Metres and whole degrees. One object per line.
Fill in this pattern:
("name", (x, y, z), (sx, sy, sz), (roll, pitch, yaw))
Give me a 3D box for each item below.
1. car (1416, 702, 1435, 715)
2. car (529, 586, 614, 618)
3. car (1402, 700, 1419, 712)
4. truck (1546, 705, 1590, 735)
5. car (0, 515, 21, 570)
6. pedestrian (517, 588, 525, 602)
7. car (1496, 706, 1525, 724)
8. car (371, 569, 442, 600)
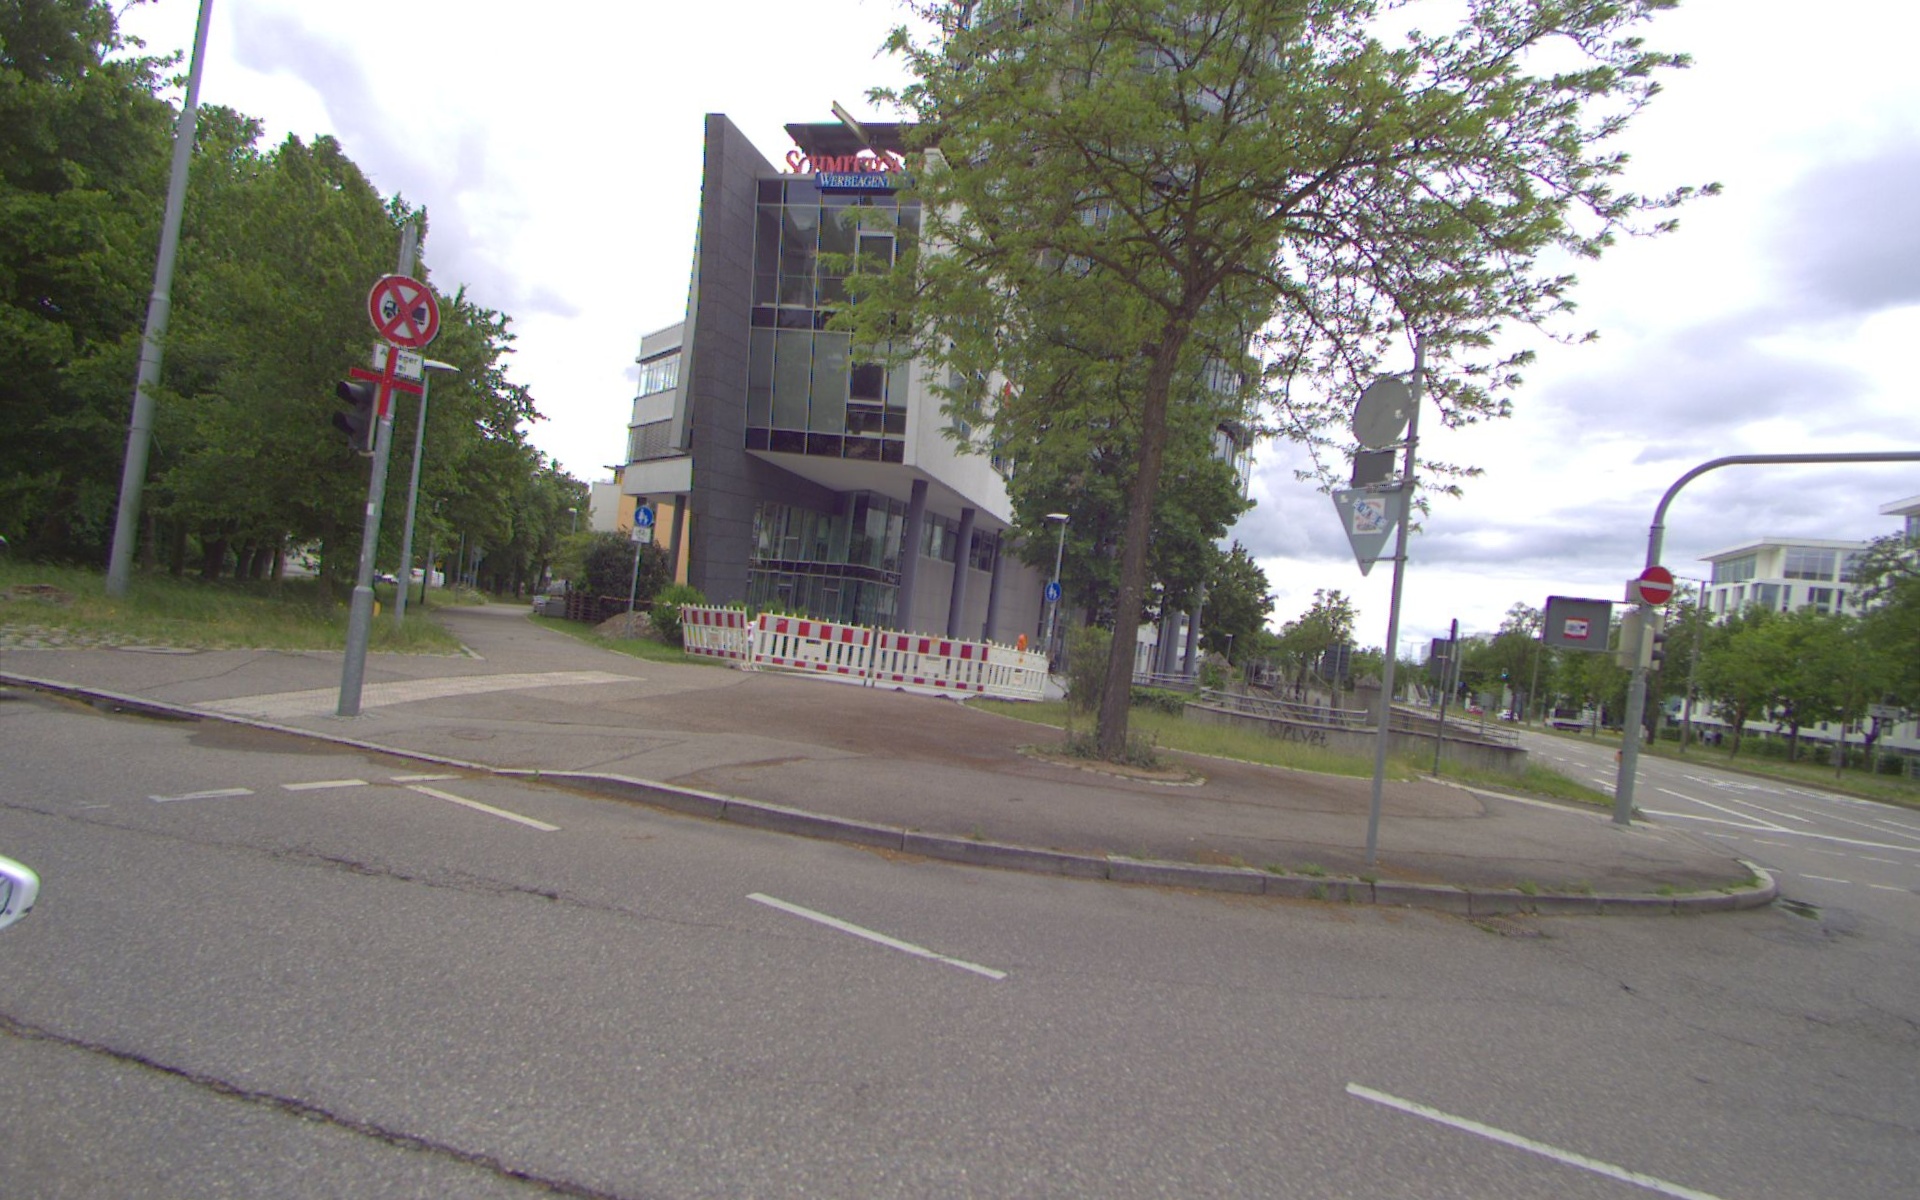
("car", (73.489, 17.129, 158.945), (1.962, 1.668, 4.007), (8, -3, 18))
("car", (-24.289, 0.140, 63.023), (1.841, 1.534, 4.734), (3, -3, 32))
("car", (77.142, 18.216, 172.458), (1.962, 1.668, 4.007), (9, -3, 17))
("truck", (58.288, 11.527, 96.545), (2.516, 2.402, 4.595), (8, -3, 21))
("car", (-29.014, -1.835, 28.410), (1.900, 1.592, 3.989), (7, -3, -16))
("pedestrian", (-63.231, -0.769, 144.836), (0.912, 1.897, 1.015), (3, 2, -18))
("car", (63.906, 13.376, 116.767), (1.841, 1.691, 3.893), (9, -3, 15))
("car", (-65.611, -1.790, 119.345), (2.054, 2.550, 6.961), (7, -2, 39))
